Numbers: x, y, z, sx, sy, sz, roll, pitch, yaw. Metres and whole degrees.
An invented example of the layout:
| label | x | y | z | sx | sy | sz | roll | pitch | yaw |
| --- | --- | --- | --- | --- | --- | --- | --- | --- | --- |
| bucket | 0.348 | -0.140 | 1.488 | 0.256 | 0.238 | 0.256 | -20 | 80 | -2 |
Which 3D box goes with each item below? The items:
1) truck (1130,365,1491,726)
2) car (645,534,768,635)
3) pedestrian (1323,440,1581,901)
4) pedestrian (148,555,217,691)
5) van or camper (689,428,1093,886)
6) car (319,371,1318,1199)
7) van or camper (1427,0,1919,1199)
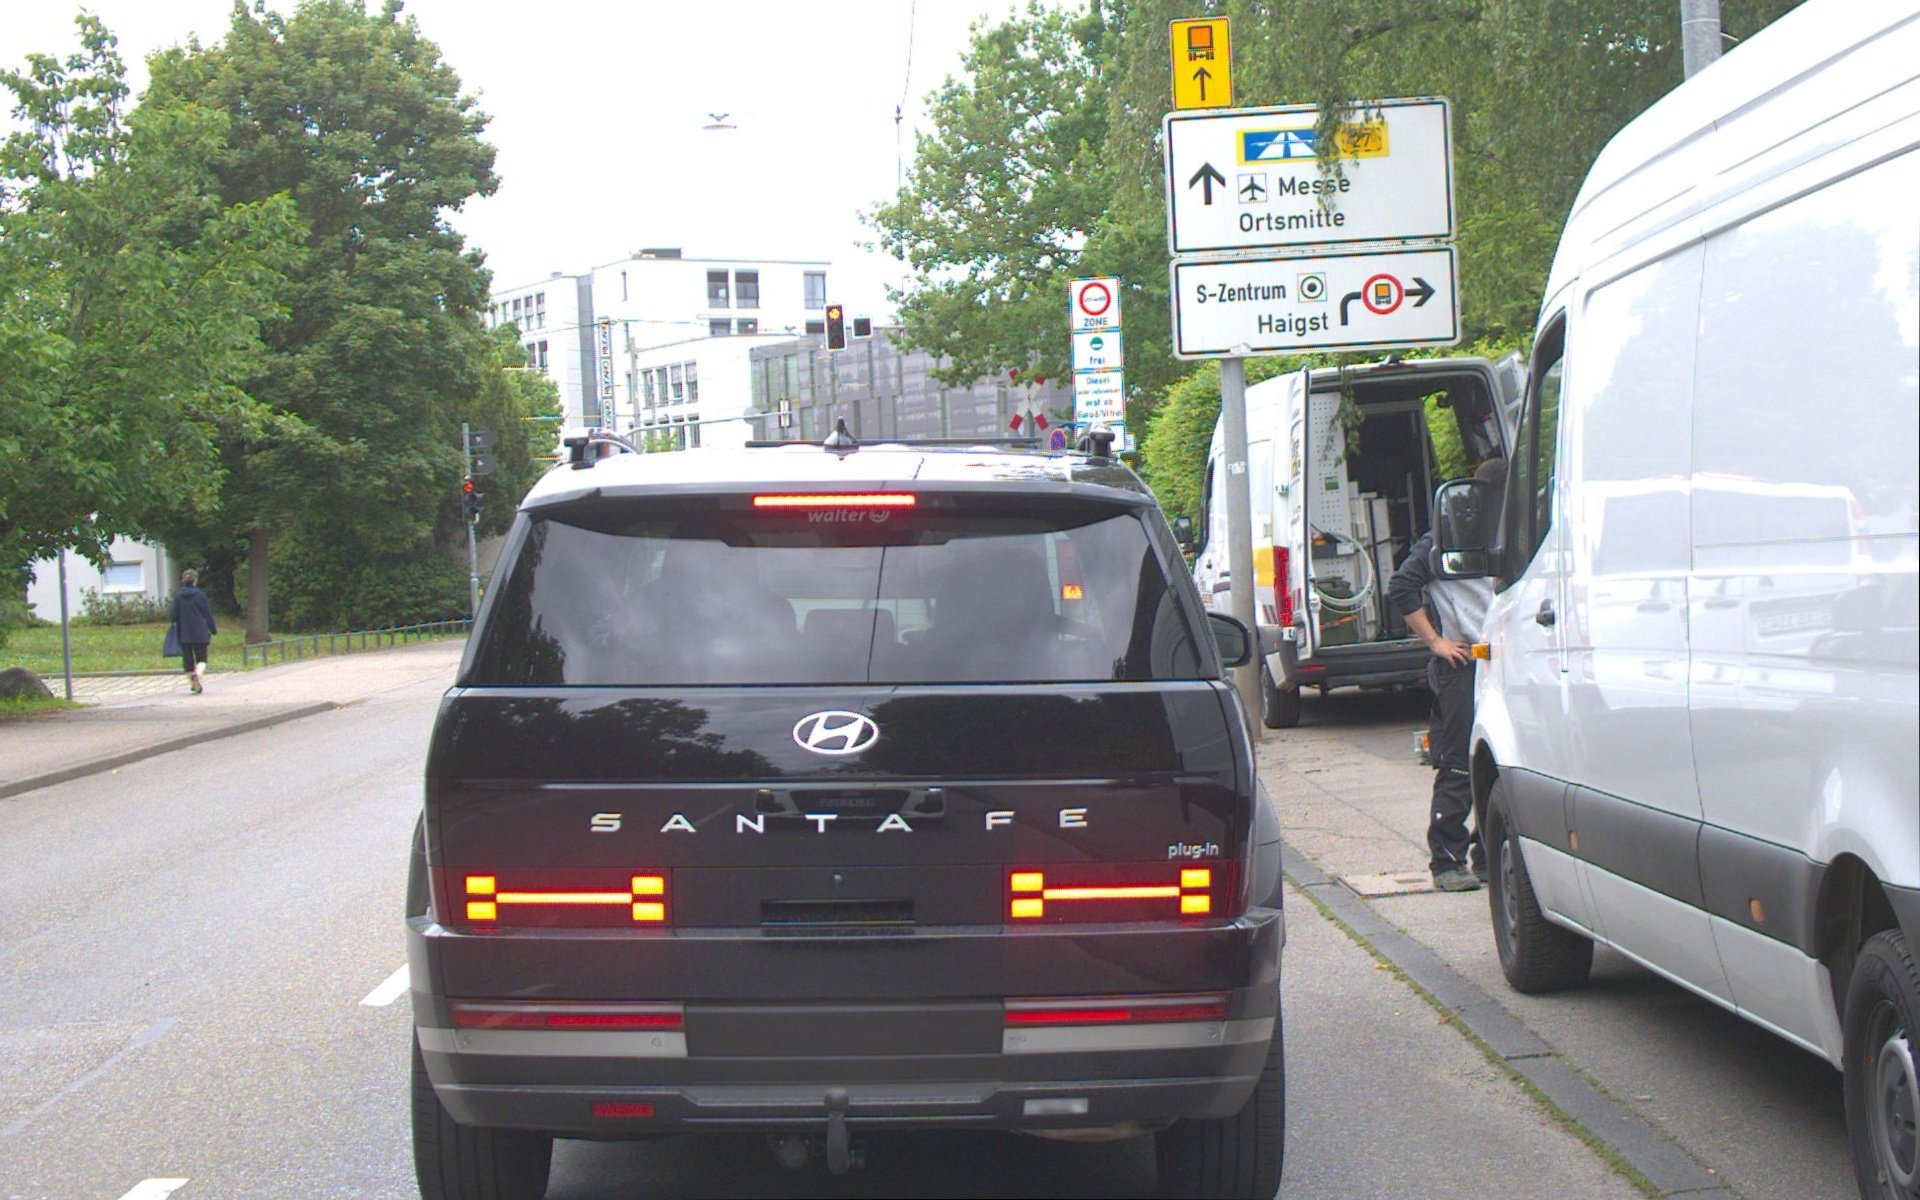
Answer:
| label | x | y | z | sx | sy | sz | roll | pitch | yaw |
| --- | --- | --- | --- | --- | --- | --- | --- | --- | --- |
| truck | 2.726 | -0.426 | 28.021 | 1.942 | 2.553 | 5.217 | -4 | 1 | -4 |
| car | -4.612 | -0.308 | 63.068 | 1.859 | 1.651 | 4.306 | -4 | 1 | -1 |
| pedestrian | 1.982 | 0.273 | 13.936 | 0.870 | 1.791 | 0.760 | -2 | 1 | -1 |
| pedestrian | -9.966 | 0.283 | 44.078 | 0.738 | 1.709 | 0.793 | -2 | 1 | -7 |
| van or camper | -0.330 | 0.223 | 17.488 | 1.754 | 2.007 | 4.000 | -2 | 1 | -1 |
| car | -0.289 | 0.441 | 8.545 | 1.889 | 1.813 | 4.000 | 0 | 1 | -1 |
| van or camper | 2.620 | -0.083 | 8.132 | 1.993 | 2.611 | 6.541 | -2 | 1 | -1 |
